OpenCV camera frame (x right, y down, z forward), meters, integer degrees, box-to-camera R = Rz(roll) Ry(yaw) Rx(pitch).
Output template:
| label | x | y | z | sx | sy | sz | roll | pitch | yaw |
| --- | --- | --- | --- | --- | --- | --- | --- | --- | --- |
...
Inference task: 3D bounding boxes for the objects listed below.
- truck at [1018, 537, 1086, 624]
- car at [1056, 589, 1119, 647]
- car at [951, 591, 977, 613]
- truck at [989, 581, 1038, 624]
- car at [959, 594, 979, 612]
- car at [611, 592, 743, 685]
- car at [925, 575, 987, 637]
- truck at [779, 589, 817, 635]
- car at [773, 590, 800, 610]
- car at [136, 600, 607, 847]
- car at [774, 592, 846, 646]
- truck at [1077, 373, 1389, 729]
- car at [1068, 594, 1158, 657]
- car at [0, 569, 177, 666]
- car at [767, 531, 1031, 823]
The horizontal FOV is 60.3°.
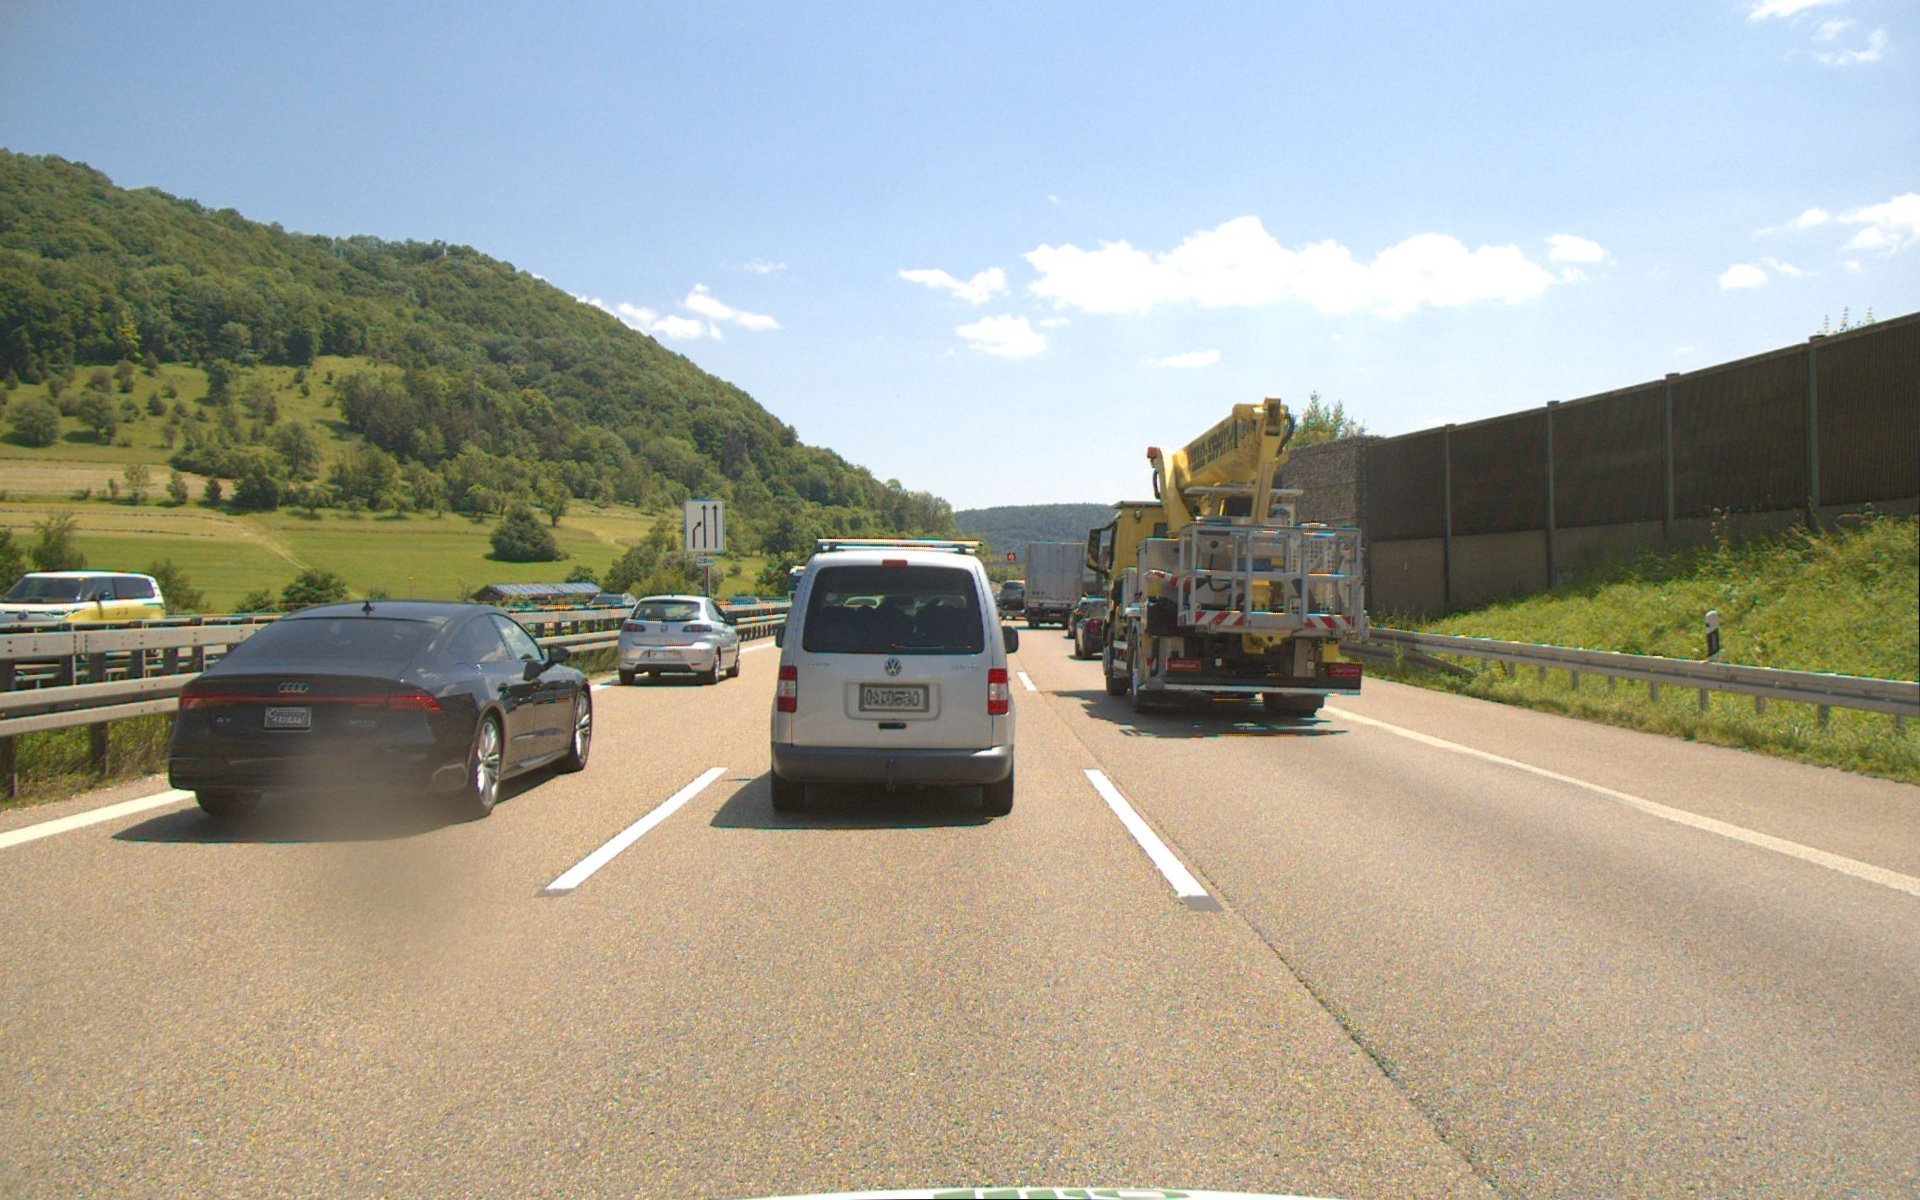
| label | x | y | z | sx | sy | sz | roll | pitch | yaw |
| --- | --- | --- | --- | --- | --- | --- | --- | --- | --- |
| truck | 4.291 | -0.839 | 78.840 | 2.880 | 3.890 | 8.237 | 1 | 0 | 1 |
| car | 4.638 | 0.618 | 60.757 | 1.953 | 2.049 | 3.999 | 0 | 0 | -1 |
| car | 0.346 | 0.202 | 148.923 | 2.072 | 1.859 | 3.998 | 1 | 0 | -2 |
| truck | 3.352 | 0.116 | 102.624 | 2.339 | 2.585 | 5.944 | 0 | 0 | 9 |
| car | 0.895 | 0.299 | 168.833 | 1.953 | 1.837 | 3.999 | 1 | 0 | -1 |
| car | -4.732 | 0.610 | 28.102 | 1.661 | 1.470 | 3.861 | 0 | 0 | -2 |
| car | -0.167 | 0.189 | 55.693 | 1.953 | 2.010 | 3.998 | 0 | 0 | -2 |
| truck | -15.509 | 1.169 | 158.491 | 2.740 | 4.306 | 7.231 | 1 | 0 | 1 |
| car | -14.139 | 0.015 | 134.976 | 1.812 | 1.638 | 4.077 | 0 | 0 | -1 |
| car | -3.943 | 0.717 | 12.091 | 1.764 | 1.415 | 4.968 | 0 | 0 | -1 |
| car | -4.442 | 0.529 | 49.562 | 1.886 | 1.525 | 3.998 | 1 | 0 | -2 |
| truck | 3.397 | -0.563 | 23.041 | 2.649 | 4.011 | 8.718 | 0 | 0 | -2 |
| car | 3.731 | 0.603 | 40.835 | 1.750 | 1.484 | 3.769 | 0 | 0 | -2 |
| car | -19.238 | 0.348 | 36.206 | 2.018 | 1.975 | 4.660 | 0 | 0 | -1 |
| car | -0.462 | 0.499 | 12.806 | 1.721 | 1.900 | 3.998 | 0 | 0 | -2 |
